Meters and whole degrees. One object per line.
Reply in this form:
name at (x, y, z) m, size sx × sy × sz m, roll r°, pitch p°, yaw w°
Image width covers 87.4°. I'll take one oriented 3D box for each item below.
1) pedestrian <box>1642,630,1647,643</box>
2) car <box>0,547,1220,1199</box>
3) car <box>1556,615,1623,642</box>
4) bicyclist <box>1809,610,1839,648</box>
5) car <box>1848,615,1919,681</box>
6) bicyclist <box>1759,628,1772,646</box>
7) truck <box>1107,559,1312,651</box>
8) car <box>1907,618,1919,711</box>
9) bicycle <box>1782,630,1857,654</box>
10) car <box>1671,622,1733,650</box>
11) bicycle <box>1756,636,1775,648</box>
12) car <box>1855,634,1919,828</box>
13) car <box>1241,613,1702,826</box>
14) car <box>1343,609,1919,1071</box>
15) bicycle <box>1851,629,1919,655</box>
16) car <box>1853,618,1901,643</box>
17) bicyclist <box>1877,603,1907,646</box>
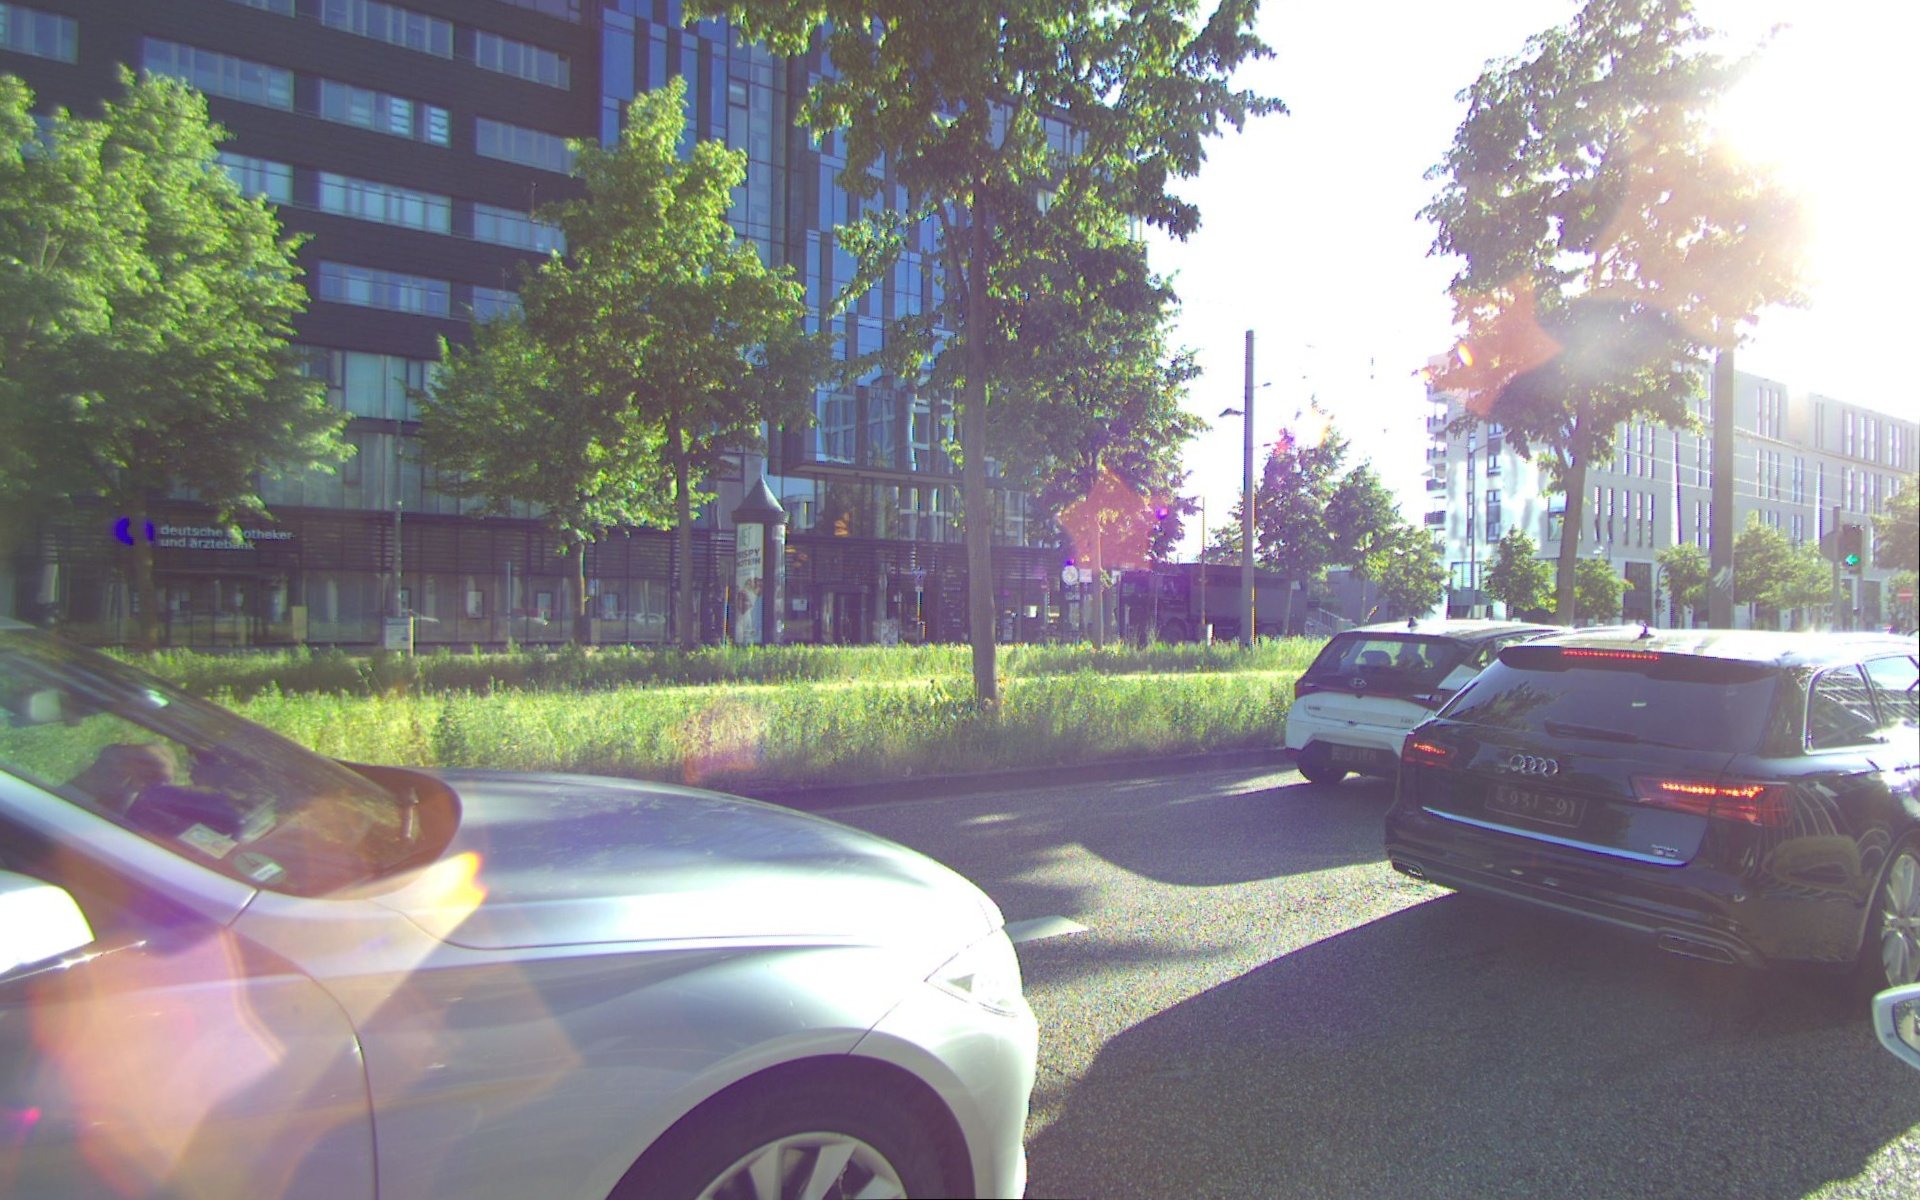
pedestrian at (58.855, 3.112, 86.405) m, size 0.257 × 1.100 × 0.252 m, roll 1°, pitch 0°, yaw -30°
car at (-1.846, 0.691, 1.699) m, size 4.509 × 1.504 × 1.810 m, roll 1°, pitch -1°, yaw -31°
car at (37.541, 1.683, 59.907) m, size 3.953 × 1.540 × 1.756 m, roll 1°, pitch -1°, yaw -30°
bicyclist at (45.623, 1.510, 53.048) m, size 0.809 × 1.973 × 0.993 m, roll 1°, pitch -1°, yaw -32°
car at (25.593, 1.272, 26.671) m, size 1.771 × 1.503 × 4.563 m, roll 4°, pitch 2°, yaw 26°
bicyclist at (69.613, 3.178, 86.775) m, size 0.706 × 1.549 × 0.674 m, roll 1°, pitch 0°, yaw -30°
truck at (11.706, 0.304, 46.499) m, size 10.094 × 3.904 × 2.877 m, roll 1°, pitch -1°, yaw -31°
car at (17.571, 1.082, 16.318) m, size 4.511 × 1.467 × 1.792 m, roll 1°, pitch 2°, yaw -28°
bicycle at (45.496, 2.216, 53.204) m, size 0.809 × 1.206 × 2.926 m, roll 1°, pitch -1°, yaw -32°
car at (51.479, 2.507, 69.682) m, size 4.319 × 1.838 × 1.984 m, roll 1°, pitch -1°, yaw -30°
bicycle at (69.551, 3.647, 86.751) m, size 1.933 × 1.001 × 0.673 m, roll 1°, pitch -1°, yaw -31°
car at (9.344, 1.031, 8.197) m, size 4.288 × 1.445 × 1.833 m, roll 1°, pitch -1°, yaw -30°
car at (4.720, 0.881, 9.014) m, size 4.522 × 1.467 × 1.787 m, roll 1°, pitch -1°, yaw -35°
car at (4.436, 0.840, 5.380) m, size 4.911 × 1.504 × 1.864 m, roll 1°, pitch -1°, yaw -32°
bicycle at (46.145, 2.080, 49.747) m, size 0.810 × 1.206 × 2.922 m, roll 1°, pitch -1°, yaw -36°
car at (78.105, 2.581, 85.530) m, size 3.953 × 2.040 × 1.984 m, roll 1°, pitch -1°, yaw -30°
bicyclist at (46.162, 1.210, 49.765) m, size 0.810 × 2.120 × 0.933 m, roll 1°, pitch -1°, yaw -36°
